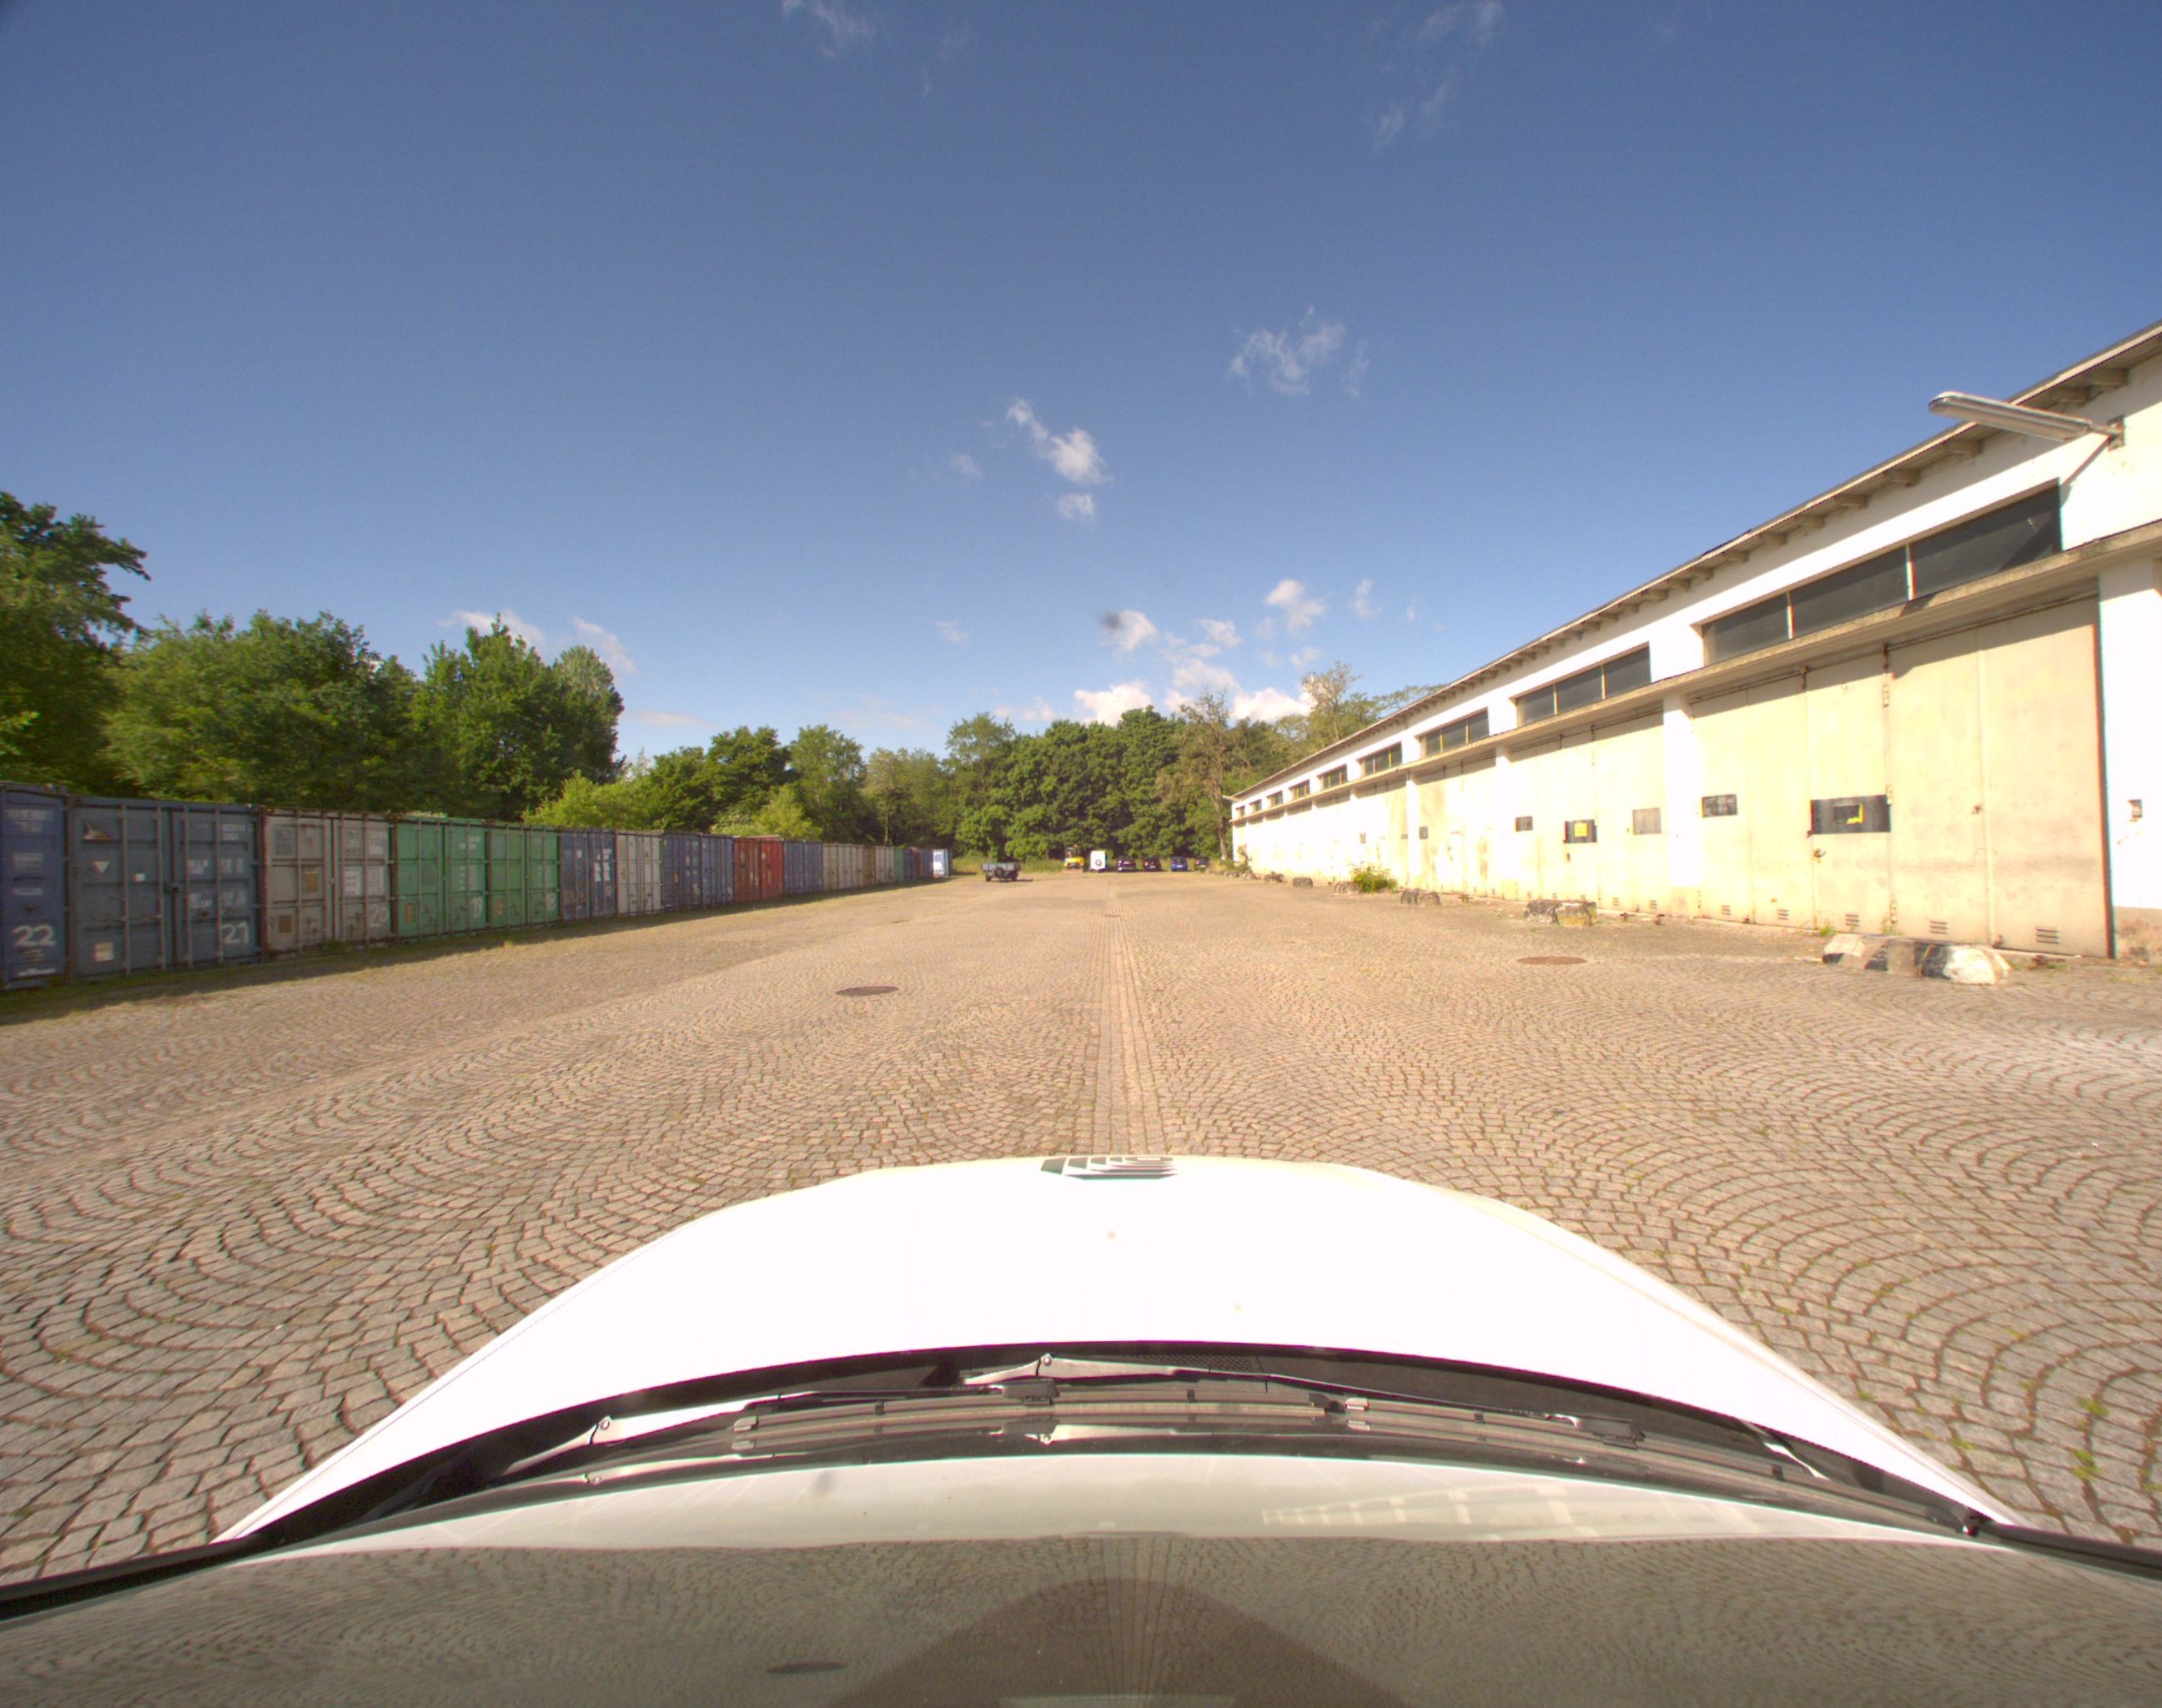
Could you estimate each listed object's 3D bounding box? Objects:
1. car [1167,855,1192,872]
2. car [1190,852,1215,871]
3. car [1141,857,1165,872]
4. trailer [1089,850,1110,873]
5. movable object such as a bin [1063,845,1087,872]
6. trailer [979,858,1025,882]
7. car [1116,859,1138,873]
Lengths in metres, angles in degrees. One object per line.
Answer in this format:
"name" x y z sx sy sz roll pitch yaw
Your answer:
"car" 9.564 0.917 79.250 1.986 1.466 4.001 -2 0 2
"car" 11.957 0.744 80.442 1.986 1.772 4.001 -2 -1 2
"car" 6.984 1.024 79.319 1.986 1.424 4.001 -2 0 2
"trailer" 1.826 0.716 80.302 1.986 2.162 4.433 -2 -1 1
"movable object such as a bin" -0.609 0.447 81.119 2.225 2.657 3.999 -2 0 -1
"trailer" -5.941 1.208 61.907 2.781 1.646 5.621 -2 -1 1
"car" 4.454 1.112 79.002 1.986 1.258 4.001 -2 0 2
